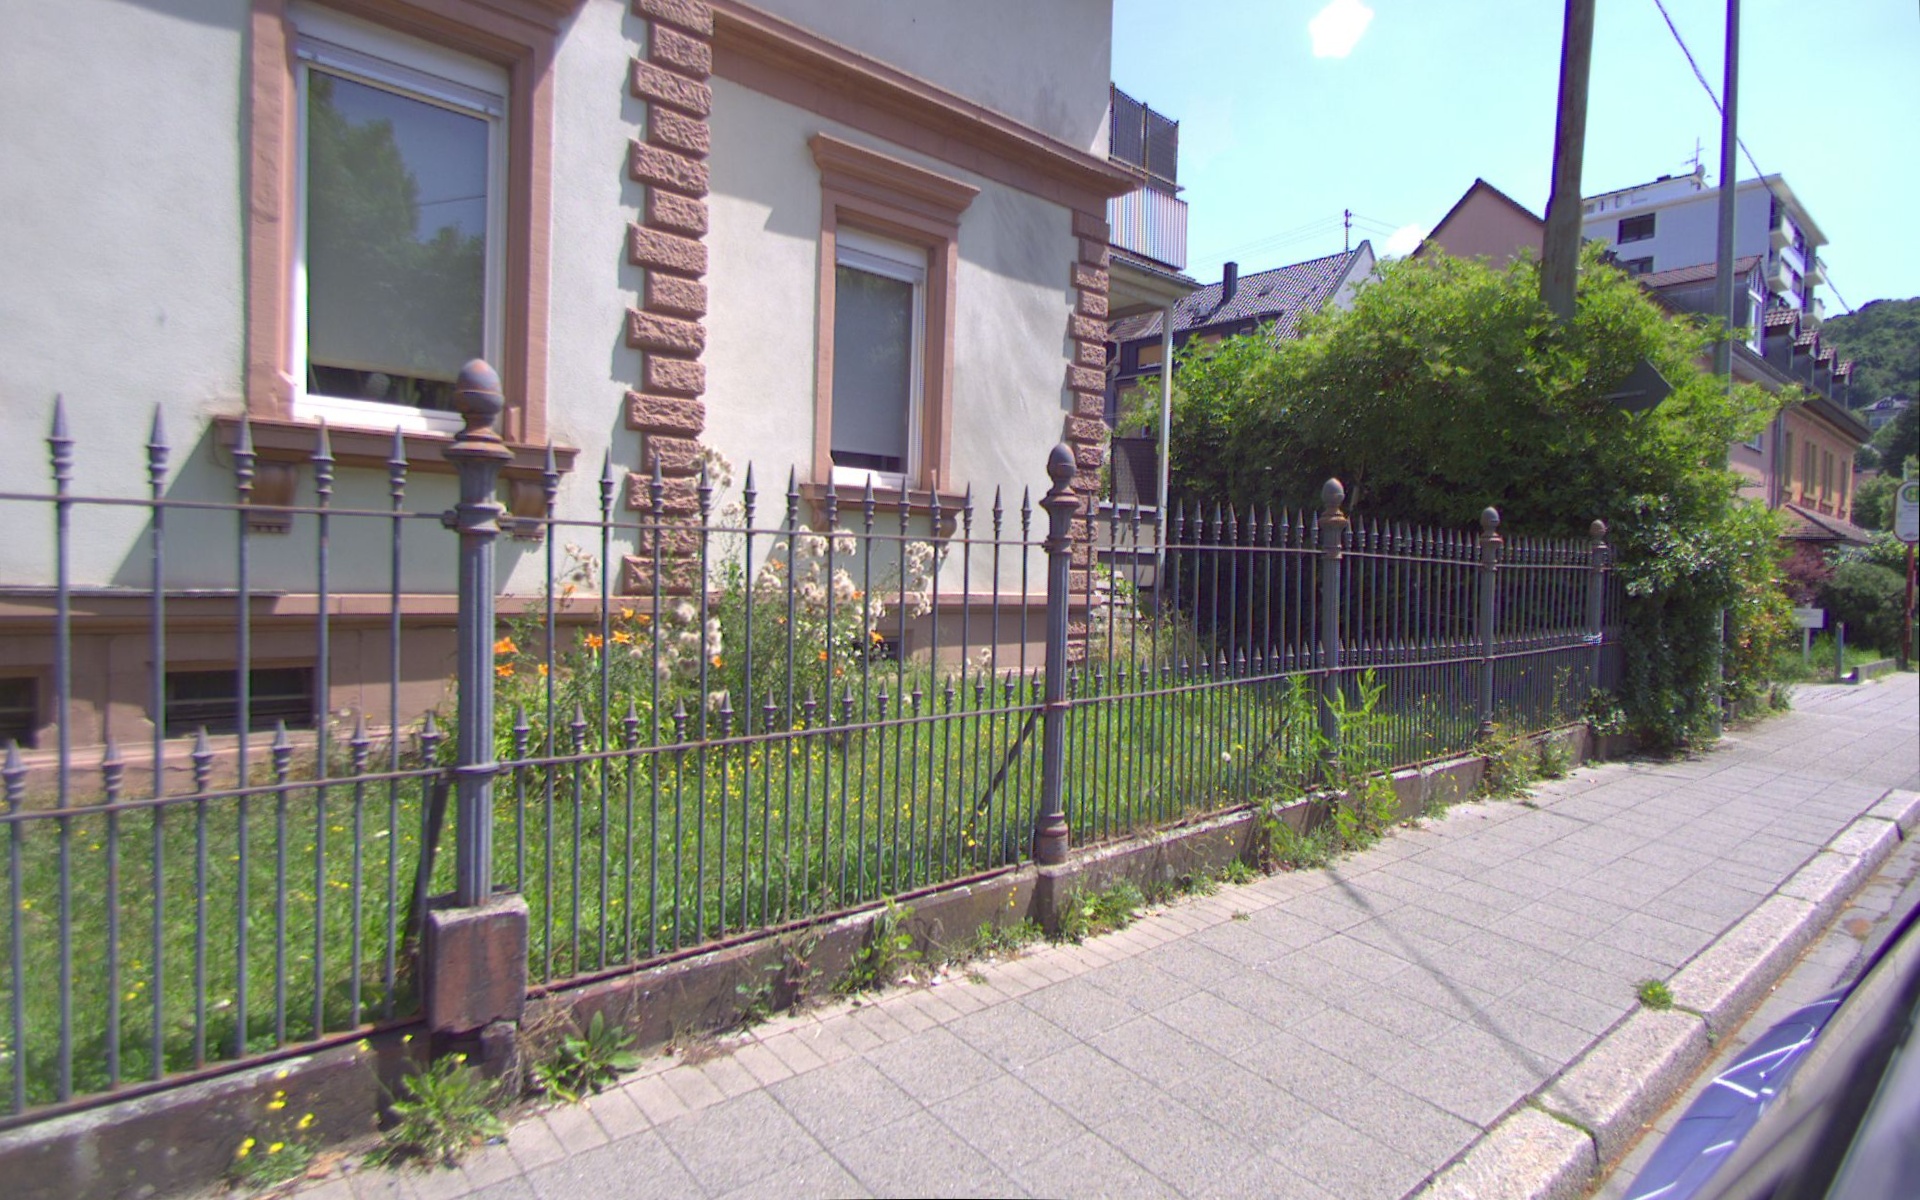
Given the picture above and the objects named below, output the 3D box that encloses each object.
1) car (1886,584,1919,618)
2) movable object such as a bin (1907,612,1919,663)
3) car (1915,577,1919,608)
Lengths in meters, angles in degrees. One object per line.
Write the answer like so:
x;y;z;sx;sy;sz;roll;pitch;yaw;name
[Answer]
46.504;0.086;47.812;3.868;1.562;1.818;2;3;37;car
18.406;0.724;19.293;0.717;0.917;0.407;-2;6;-44;movable object such as a bin
57.258;-0.395;57.558;1.788;1.812;4.291;-1;1;-1;car
